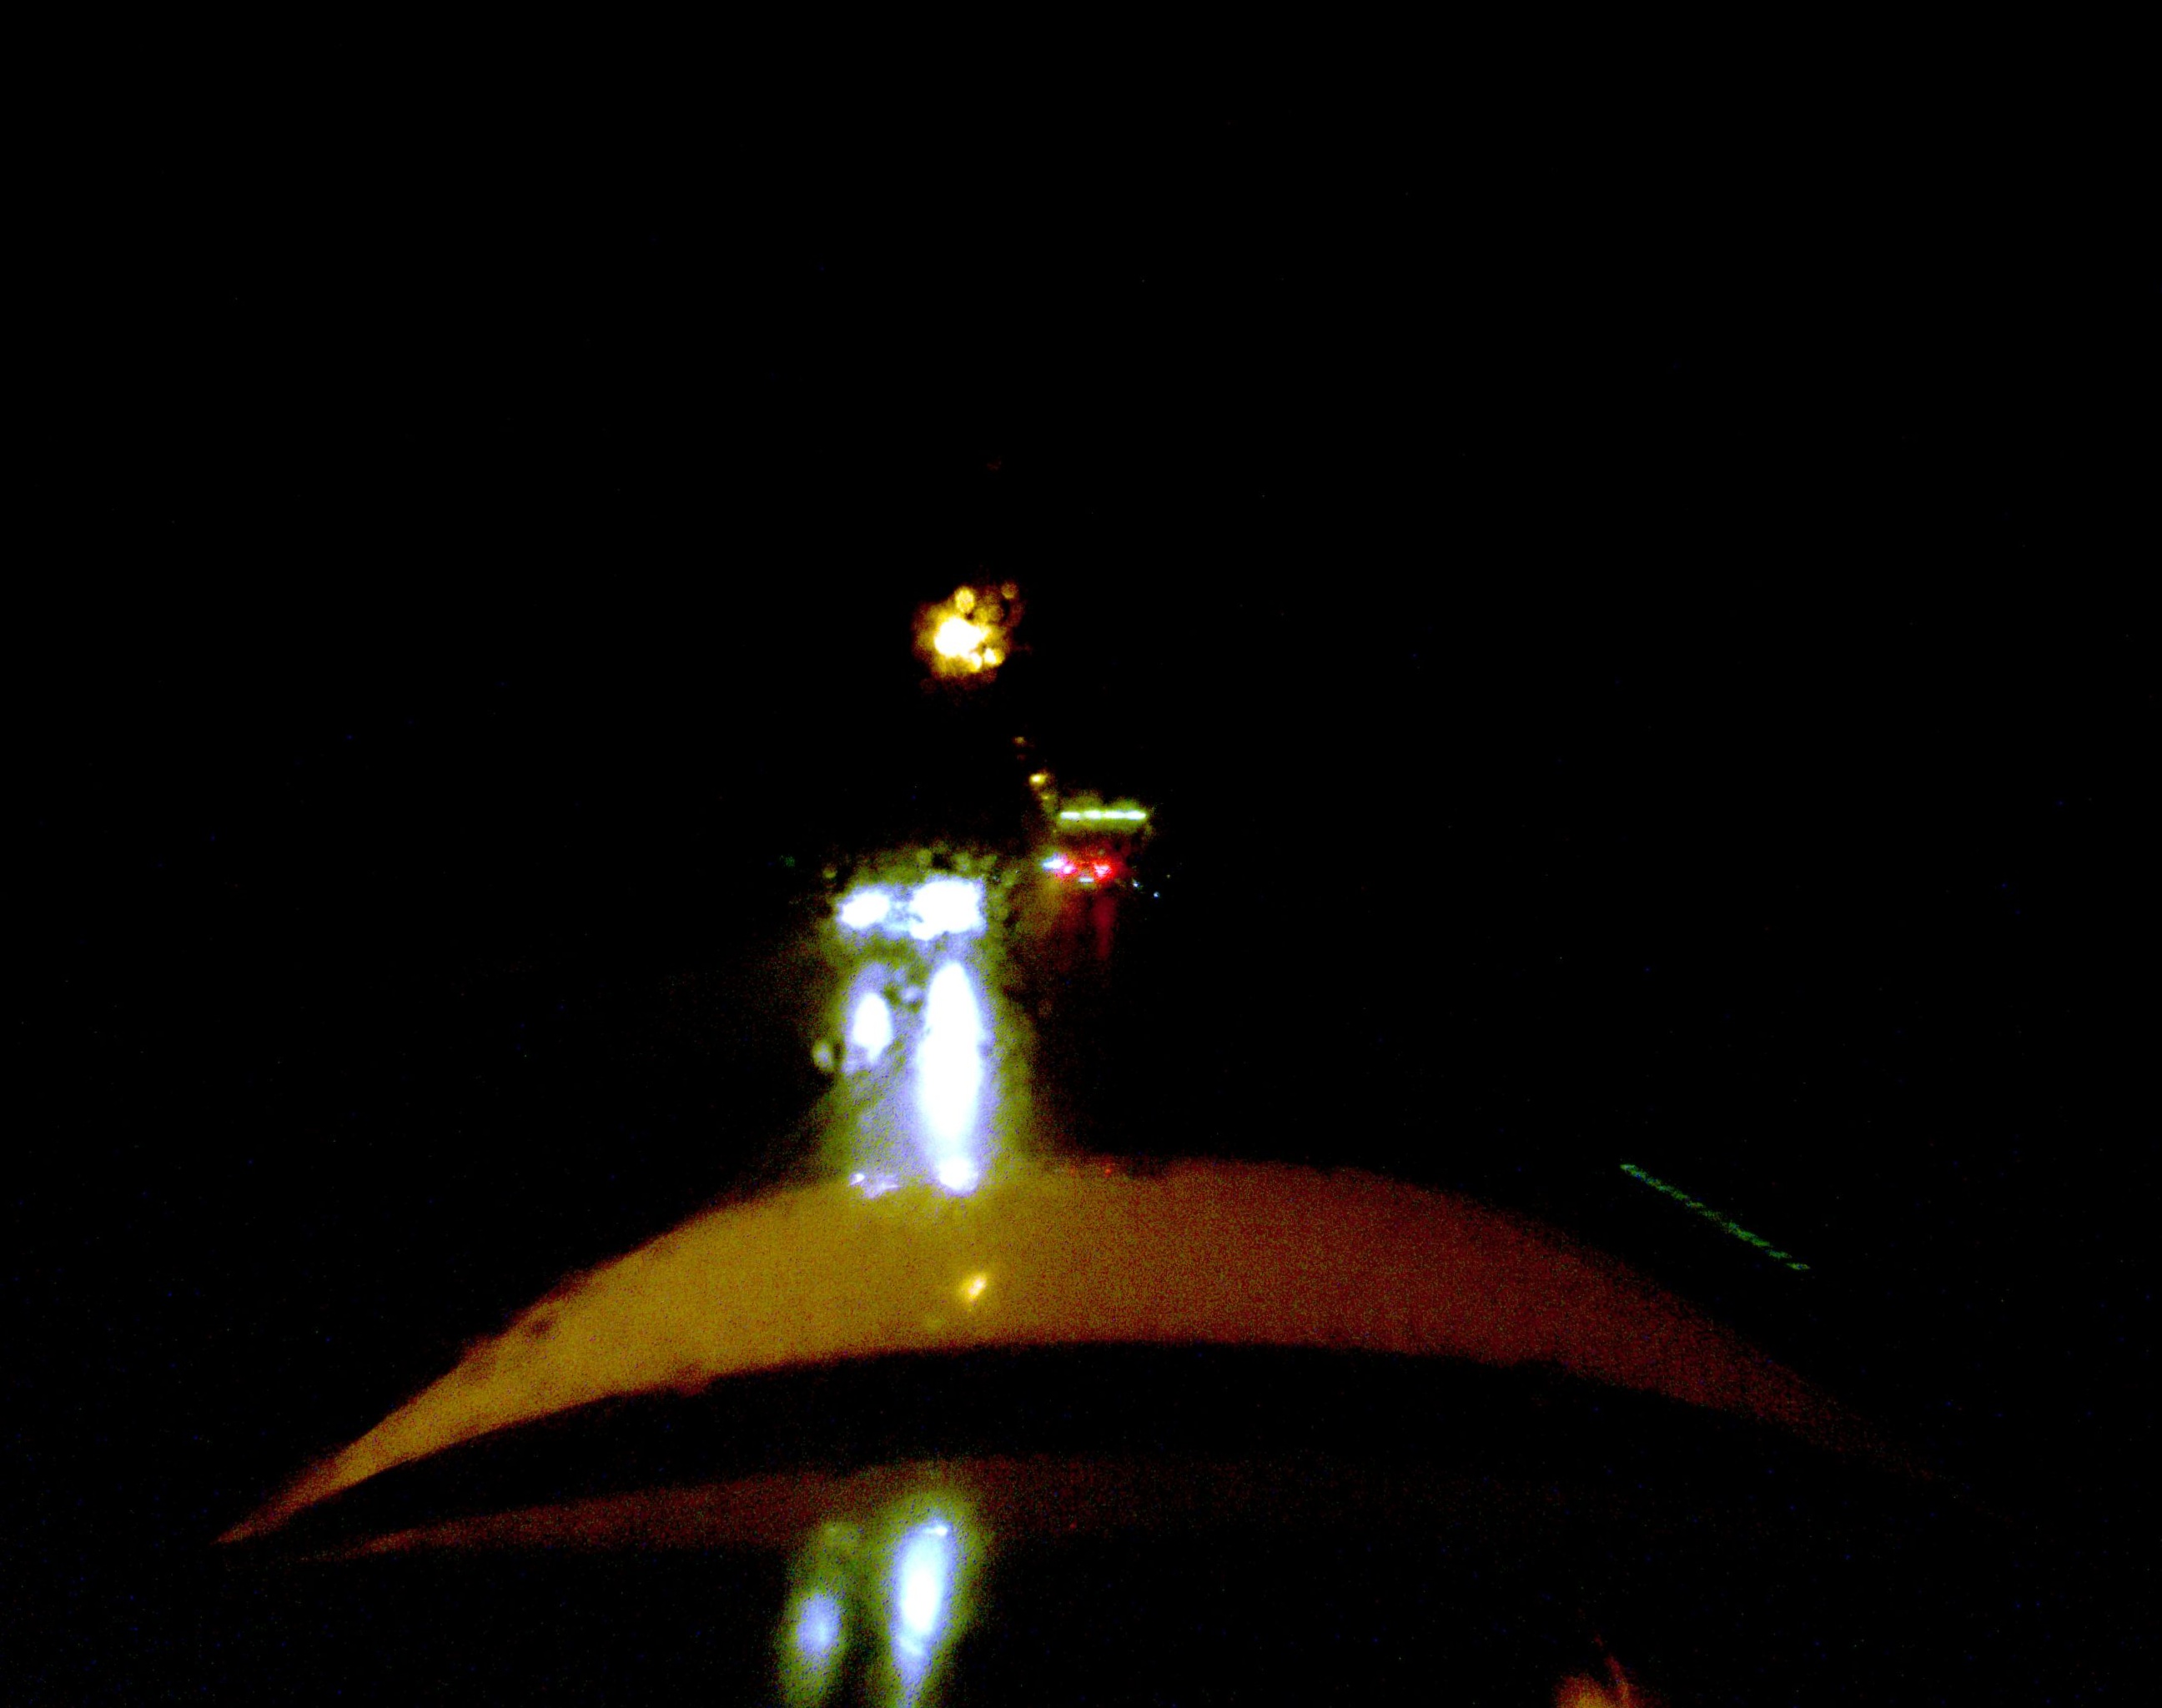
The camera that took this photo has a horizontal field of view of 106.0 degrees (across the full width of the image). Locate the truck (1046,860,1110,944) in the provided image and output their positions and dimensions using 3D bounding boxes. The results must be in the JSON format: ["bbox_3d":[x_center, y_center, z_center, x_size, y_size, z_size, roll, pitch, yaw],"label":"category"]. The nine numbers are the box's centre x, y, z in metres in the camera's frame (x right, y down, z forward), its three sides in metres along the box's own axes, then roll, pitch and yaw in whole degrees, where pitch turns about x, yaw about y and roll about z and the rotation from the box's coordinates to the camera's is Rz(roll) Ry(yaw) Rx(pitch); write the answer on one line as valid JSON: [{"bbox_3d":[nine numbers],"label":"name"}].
[{"bbox_3d":[-0.148,1.787,33.377,2.255,3.011,7.412,1,0,-1],"label":"truck"}]

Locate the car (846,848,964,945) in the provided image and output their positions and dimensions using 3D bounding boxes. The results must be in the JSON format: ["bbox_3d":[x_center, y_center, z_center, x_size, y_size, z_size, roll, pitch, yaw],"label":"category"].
[{"bbox_3d":[-3.083,0.695,14.840,1.579,1.537,3.172,2,0,-3],"label":"car"}]
